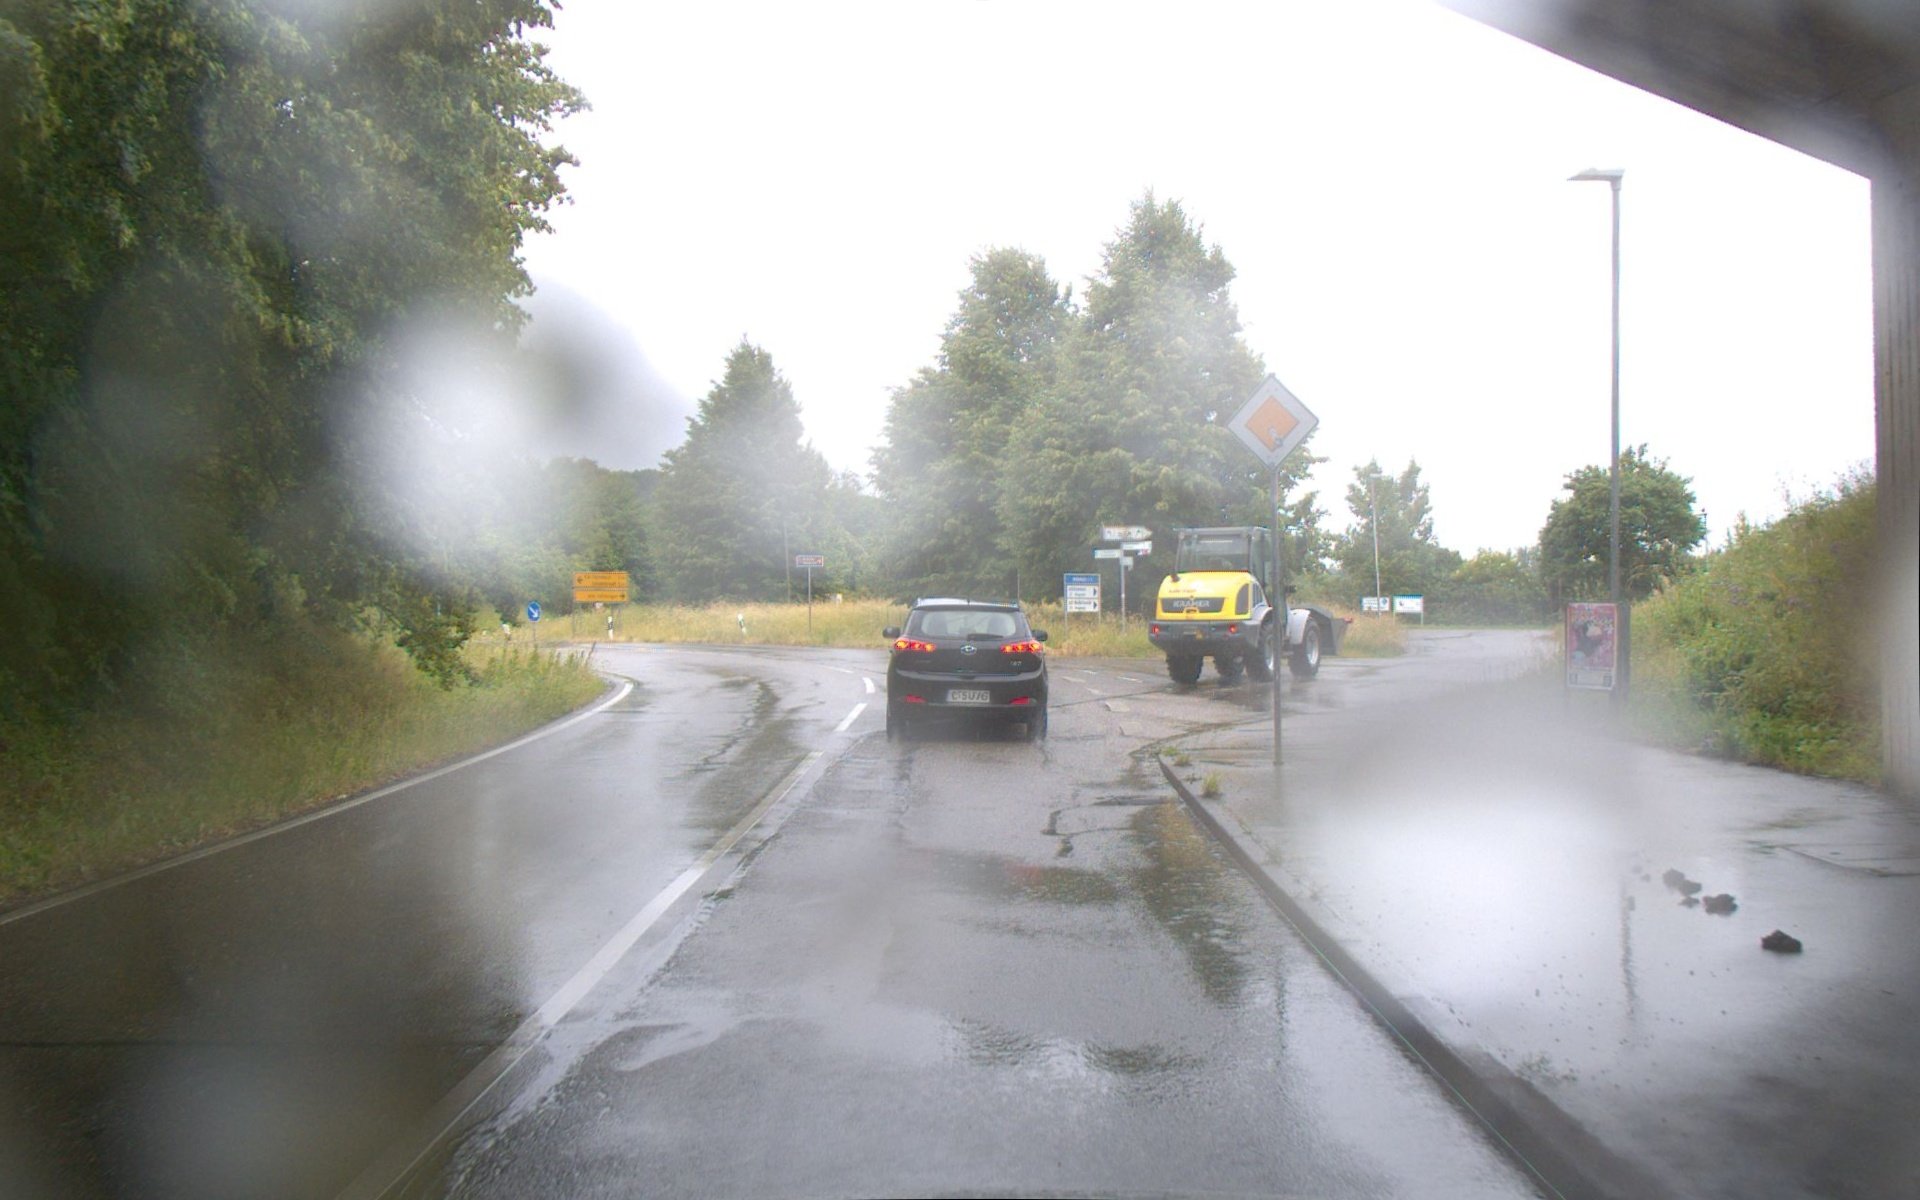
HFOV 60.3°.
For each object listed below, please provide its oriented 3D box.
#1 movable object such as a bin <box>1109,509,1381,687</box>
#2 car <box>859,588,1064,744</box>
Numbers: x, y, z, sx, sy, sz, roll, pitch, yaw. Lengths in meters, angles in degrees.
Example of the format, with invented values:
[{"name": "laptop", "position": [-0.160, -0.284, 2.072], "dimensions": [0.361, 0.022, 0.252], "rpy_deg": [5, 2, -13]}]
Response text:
[{"name": "movable object such as a bin", "position": [5.123, 0.003, 28.667], "dimensions": [2.206, 2.716, 6.607], "rpy_deg": [1, 0, 33]}, {"name": "car", "position": [-0.098, 0.661, 18.376], "dimensions": [1.954, 1.513, 3.996], "rpy_deg": [1, 0, -4]}]
